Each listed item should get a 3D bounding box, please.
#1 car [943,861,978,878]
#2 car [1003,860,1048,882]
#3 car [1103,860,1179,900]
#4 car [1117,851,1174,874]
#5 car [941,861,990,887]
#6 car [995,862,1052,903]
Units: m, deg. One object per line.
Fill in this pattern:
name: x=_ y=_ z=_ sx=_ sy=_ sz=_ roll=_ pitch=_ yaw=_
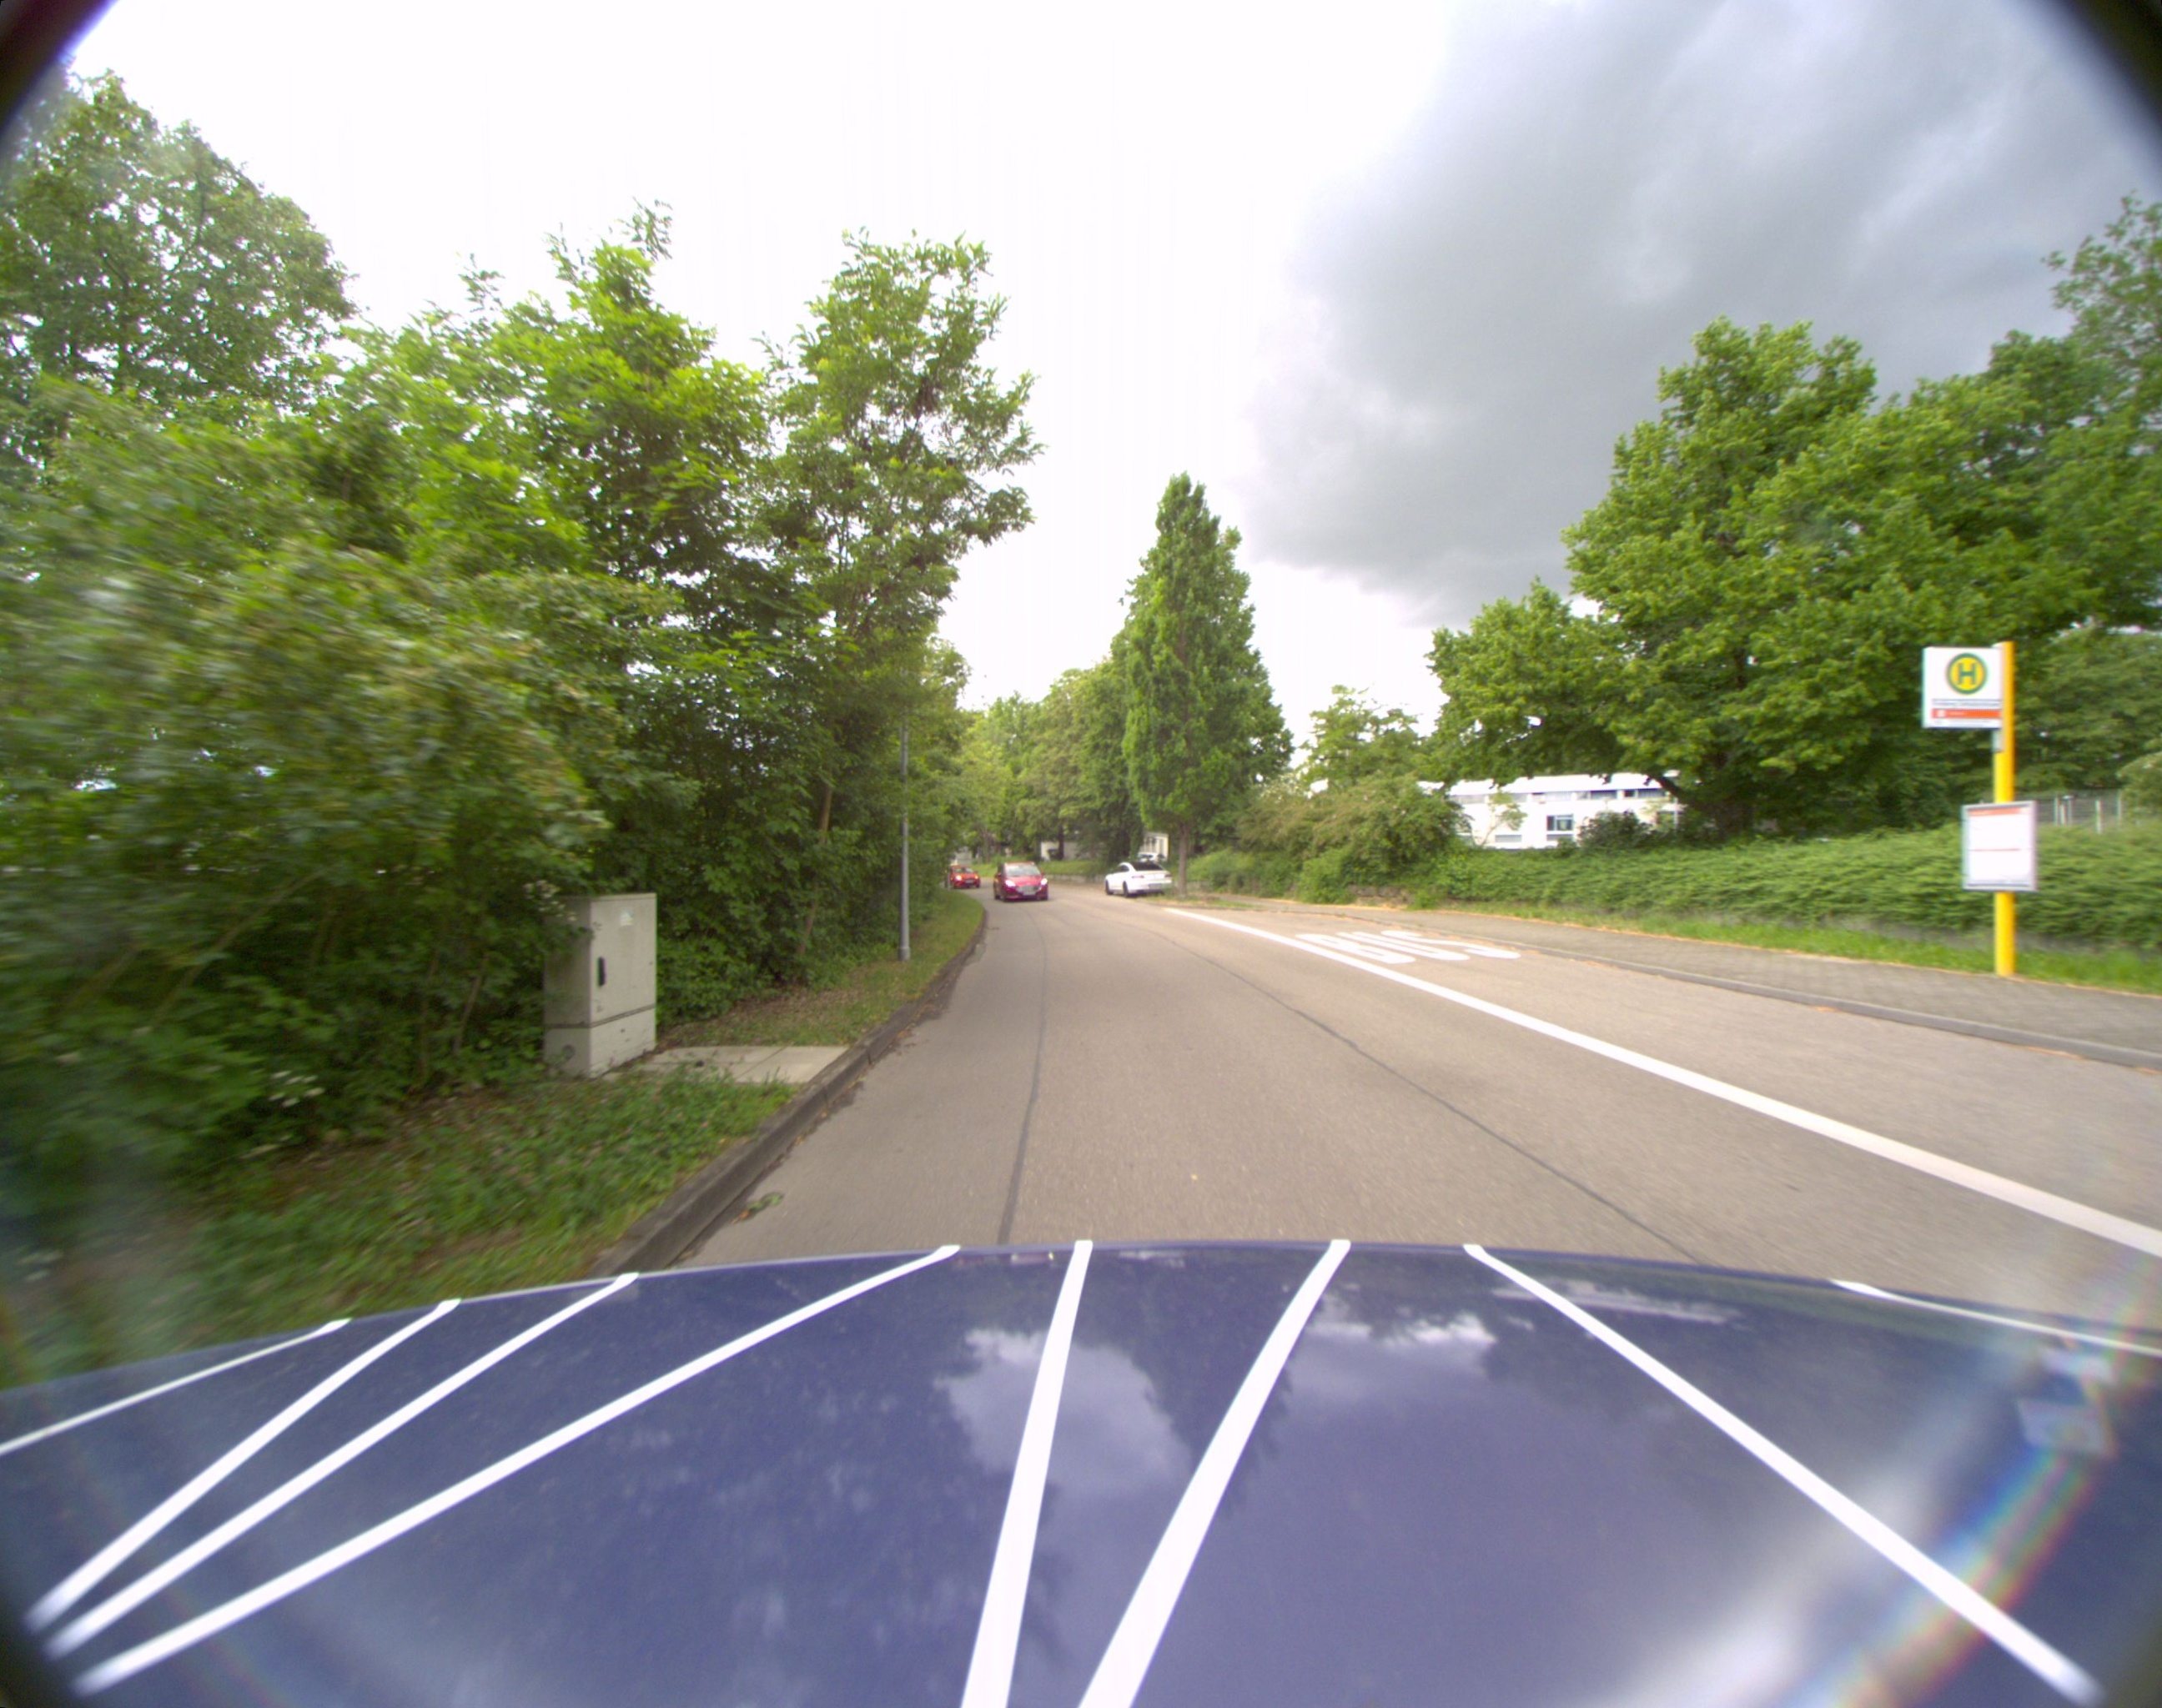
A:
car: x=-11.144 y=1.422 z=70.081 sx=1.857 sy=1.483 sz=3.991 roll=-1 pitch=0 yaw=-30
car: x=-3.952 y=1.191 z=53.742 sx=1.856 sy=1.483 sz=3.992 roll=-1 pitch=0 yaw=-25
car: x=2.368 y=1.007 z=31.397 sx=1.854 sy=1.483 sz=4.631 roll=-1 pitch=0 yaw=-12
car: x=4.890 y=0.668 z=57.704 sx=3.802 sy=1.629 sz=2.003 roll=-2 pitch=1 yaw=31
car: x=-7.575 y=1.279 z=49.607 sx=1.951 sy=1.522 sz=4.078 roll=-2 pitch=0 yaw=-26
car: x=-2.587 y=1.163 z=32.994 sx=1.947 sy=1.550 sz=4.351 roll=-2 pitch=1 yaw=-11
